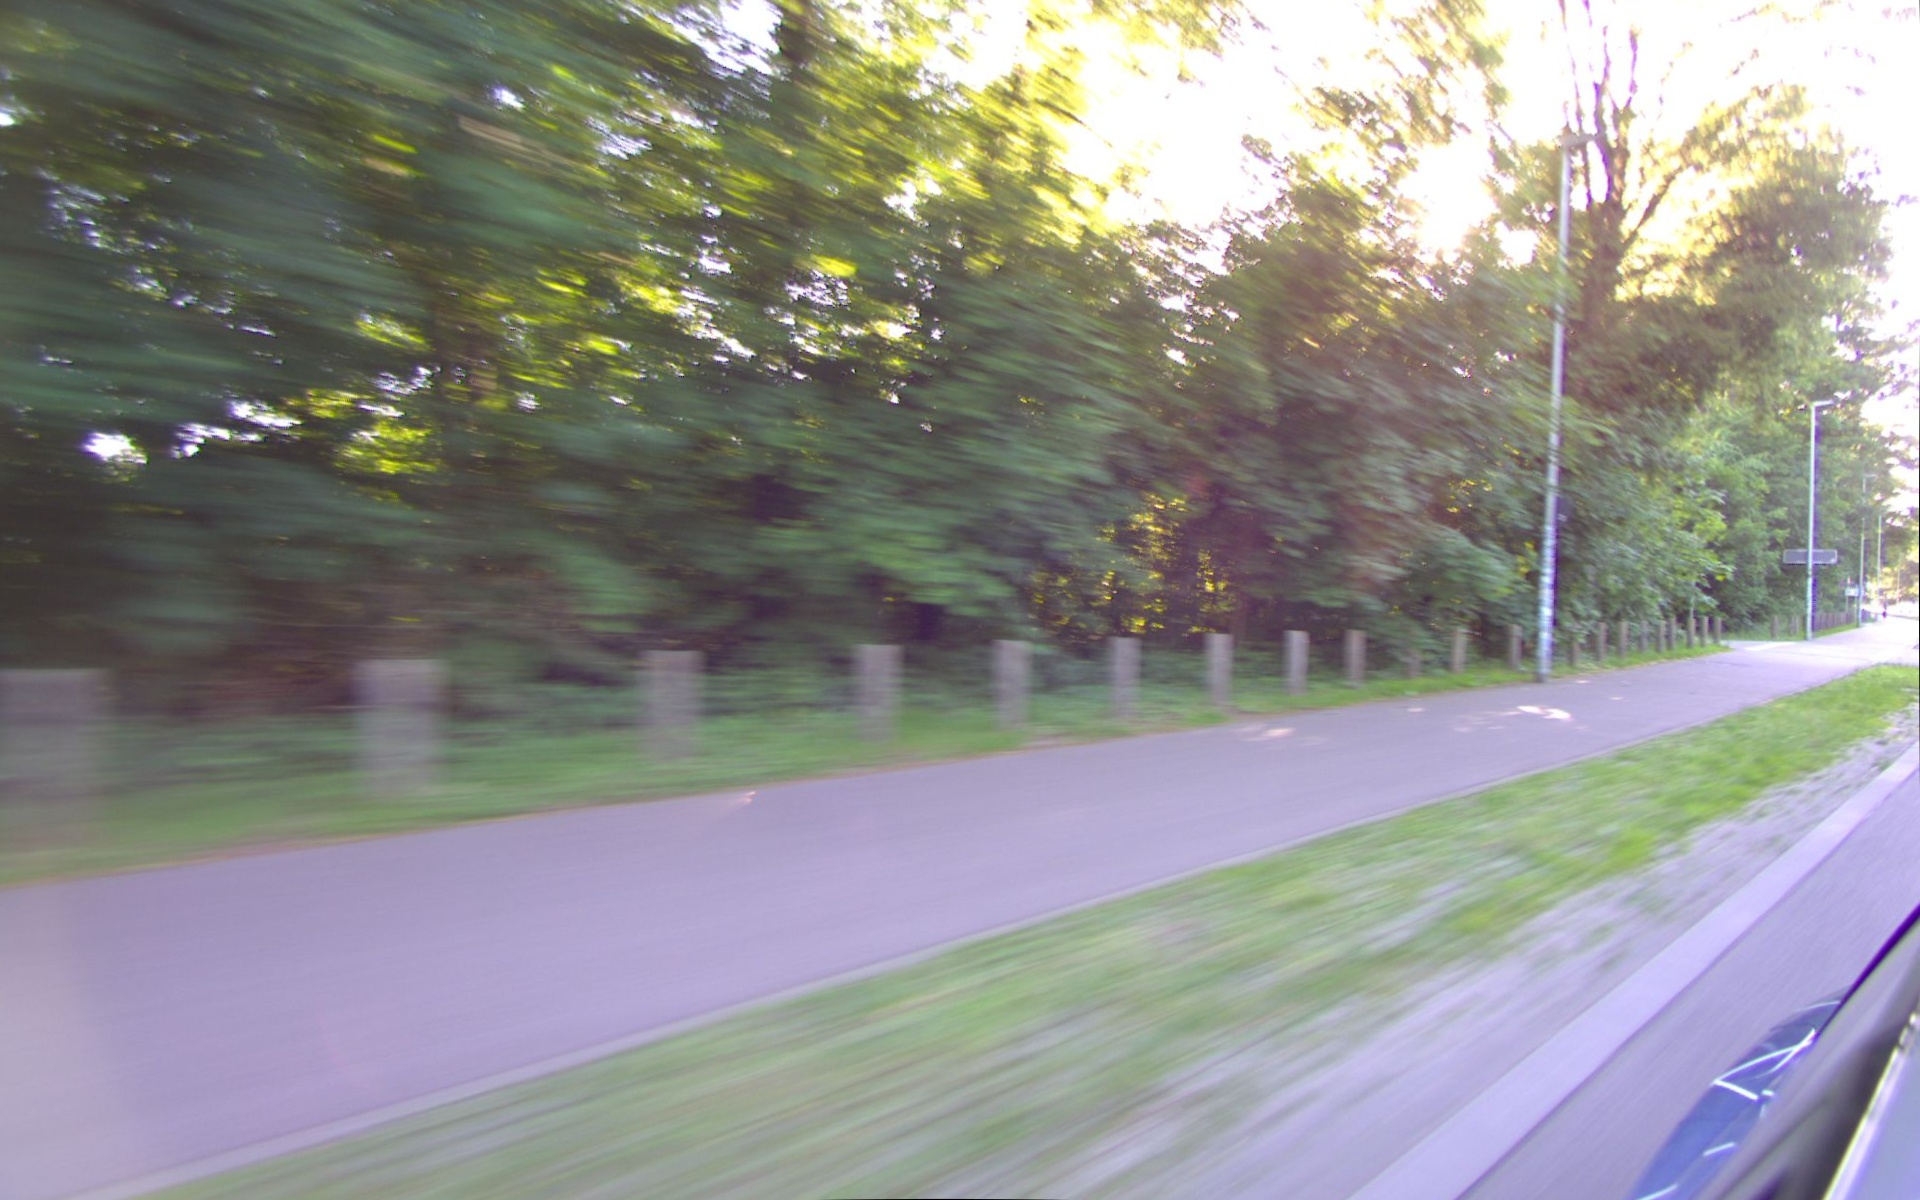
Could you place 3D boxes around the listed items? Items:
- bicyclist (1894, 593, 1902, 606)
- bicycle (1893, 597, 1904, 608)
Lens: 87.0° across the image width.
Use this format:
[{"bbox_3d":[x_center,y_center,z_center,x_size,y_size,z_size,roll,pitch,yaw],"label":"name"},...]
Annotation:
[{"bbox_3d":[90.985,-0.054,98.136,0.512,1.283,0.490,1,1,39],"label":"bicyclist"},{"bbox_3d":[91.064,0.219,98.207,0.605,1.070,2.835,1,1,38],"label":"bicycle"}]
